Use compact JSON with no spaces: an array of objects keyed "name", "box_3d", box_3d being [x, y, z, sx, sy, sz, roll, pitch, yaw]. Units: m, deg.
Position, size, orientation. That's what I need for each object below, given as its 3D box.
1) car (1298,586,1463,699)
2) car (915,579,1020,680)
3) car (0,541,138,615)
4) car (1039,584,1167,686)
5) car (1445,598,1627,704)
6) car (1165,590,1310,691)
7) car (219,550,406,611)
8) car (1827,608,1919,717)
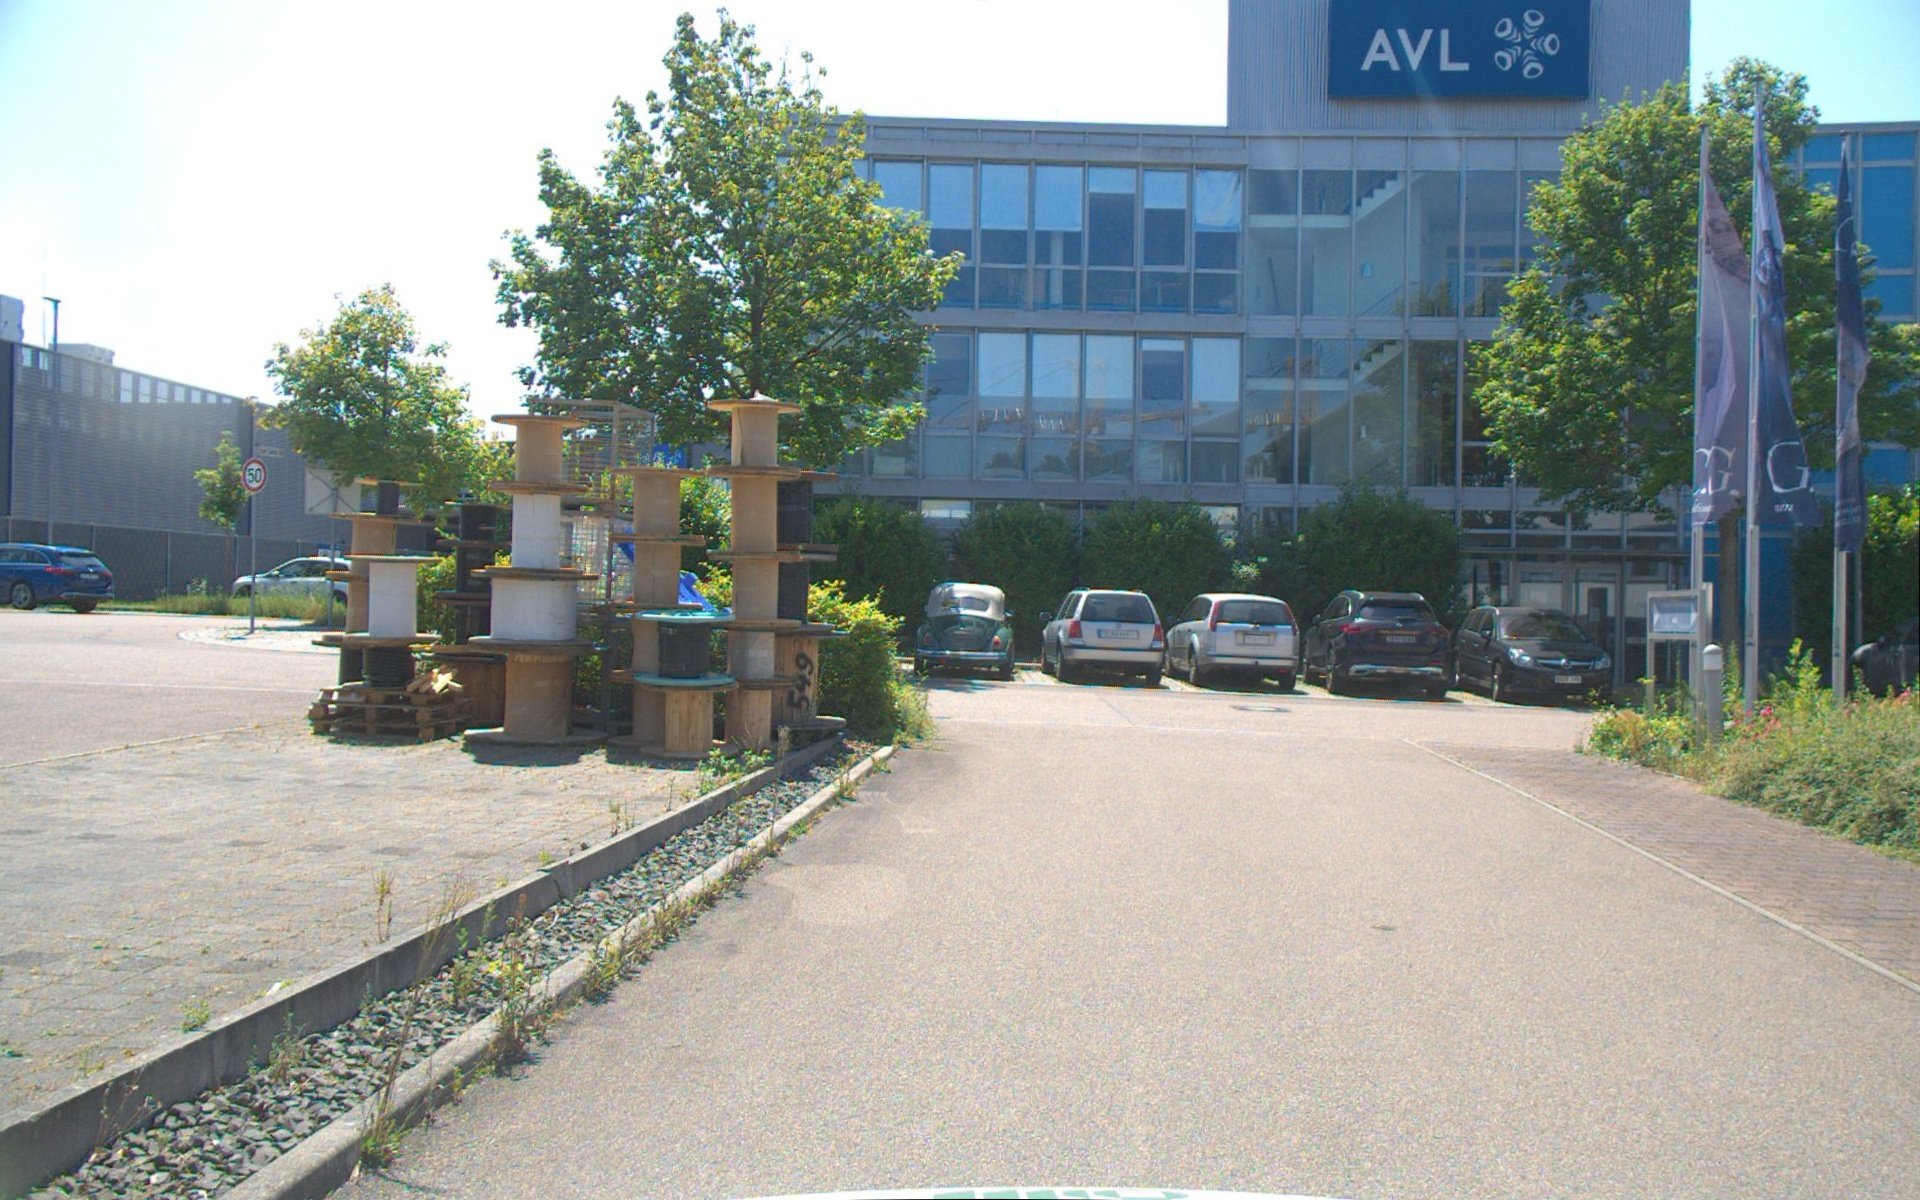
[{"name":"car","box_3d":[6.897,0.636,27.513,1.887,1.638,3.988,3,1,3]},{"name":"car","box_3d":[0.184,0.437,27.331,1.509,1.474,3.655,3,1,3]},{"name":"car","box_3d":[-21.127,-0.535,37.404,4.406,1.517,2.001,3,1,19]},{"name":"car","box_3d":[2.307,0.521,27.431,1.696,1.474,3.653,3,1,-1]},{"name":"car","box_3d":[9.445,0.776,27.455,1.733,1.507,4.261,2,1,3]},{"name":"car","box_3d":[4.607,0.633,27.905,1.729,1.474,3.653,3,1,-1]},{"name":"car","box_3d":[-18.309,-0.558,46.806,4.738,1.517,2.001,3,1,19]},{"name":"car","box_3d":[16.012,1.016,26.850,1.781,1.648,4.342,2,1,3]}]
